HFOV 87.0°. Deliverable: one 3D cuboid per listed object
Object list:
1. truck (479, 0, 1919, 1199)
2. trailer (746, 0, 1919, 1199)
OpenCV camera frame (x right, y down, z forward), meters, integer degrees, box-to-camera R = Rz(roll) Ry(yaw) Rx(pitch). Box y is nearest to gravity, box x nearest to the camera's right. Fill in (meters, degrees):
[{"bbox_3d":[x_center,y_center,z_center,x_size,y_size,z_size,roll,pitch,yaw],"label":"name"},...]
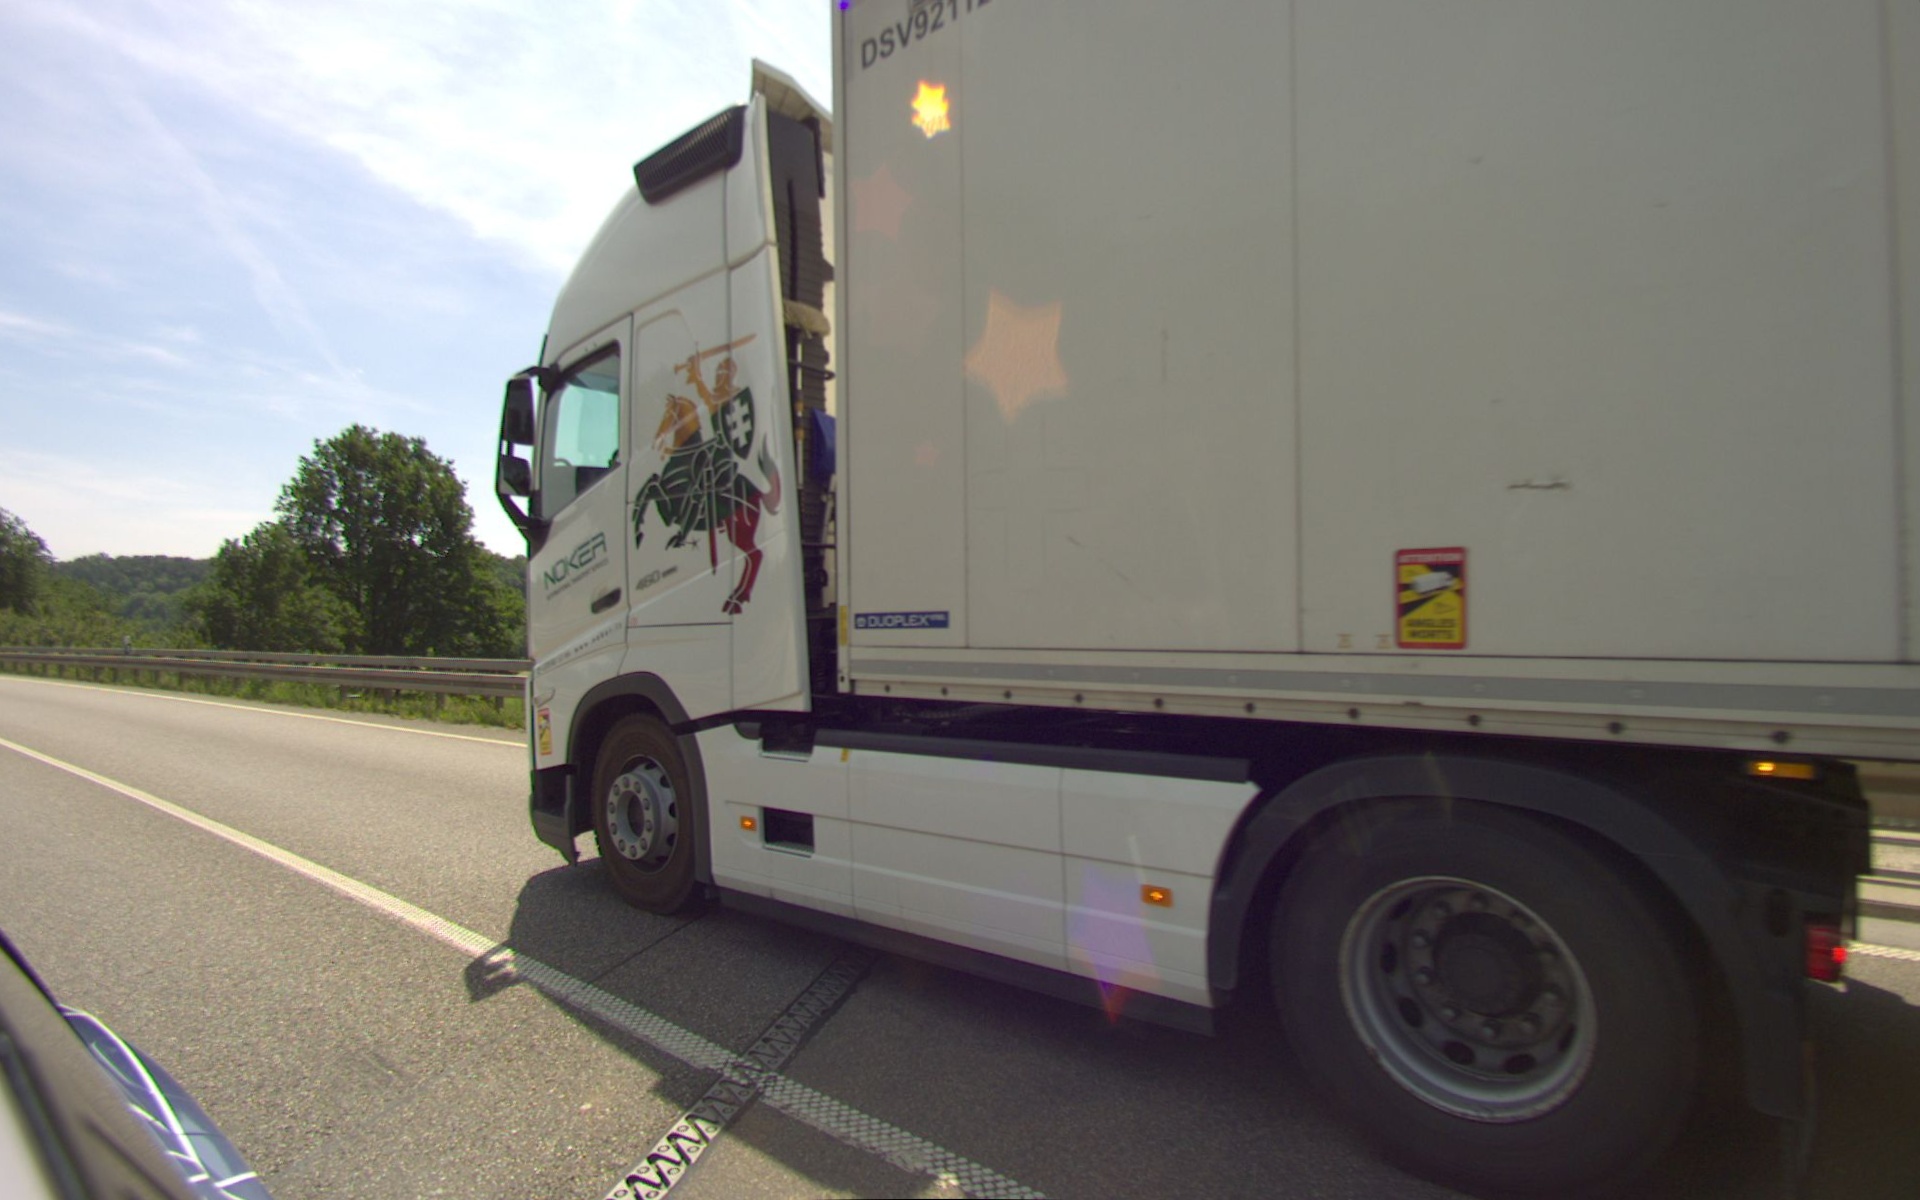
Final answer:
[{"bbox_3d":[0.598,-0.578,4.698,6.327,4.192,2.816,-3,-2,41],"label":"truck"},{"bbox_3d":[5.557,-0.837,0.381,14.488,4.220,2.823,-3,-2,41],"label":"trailer"}]
